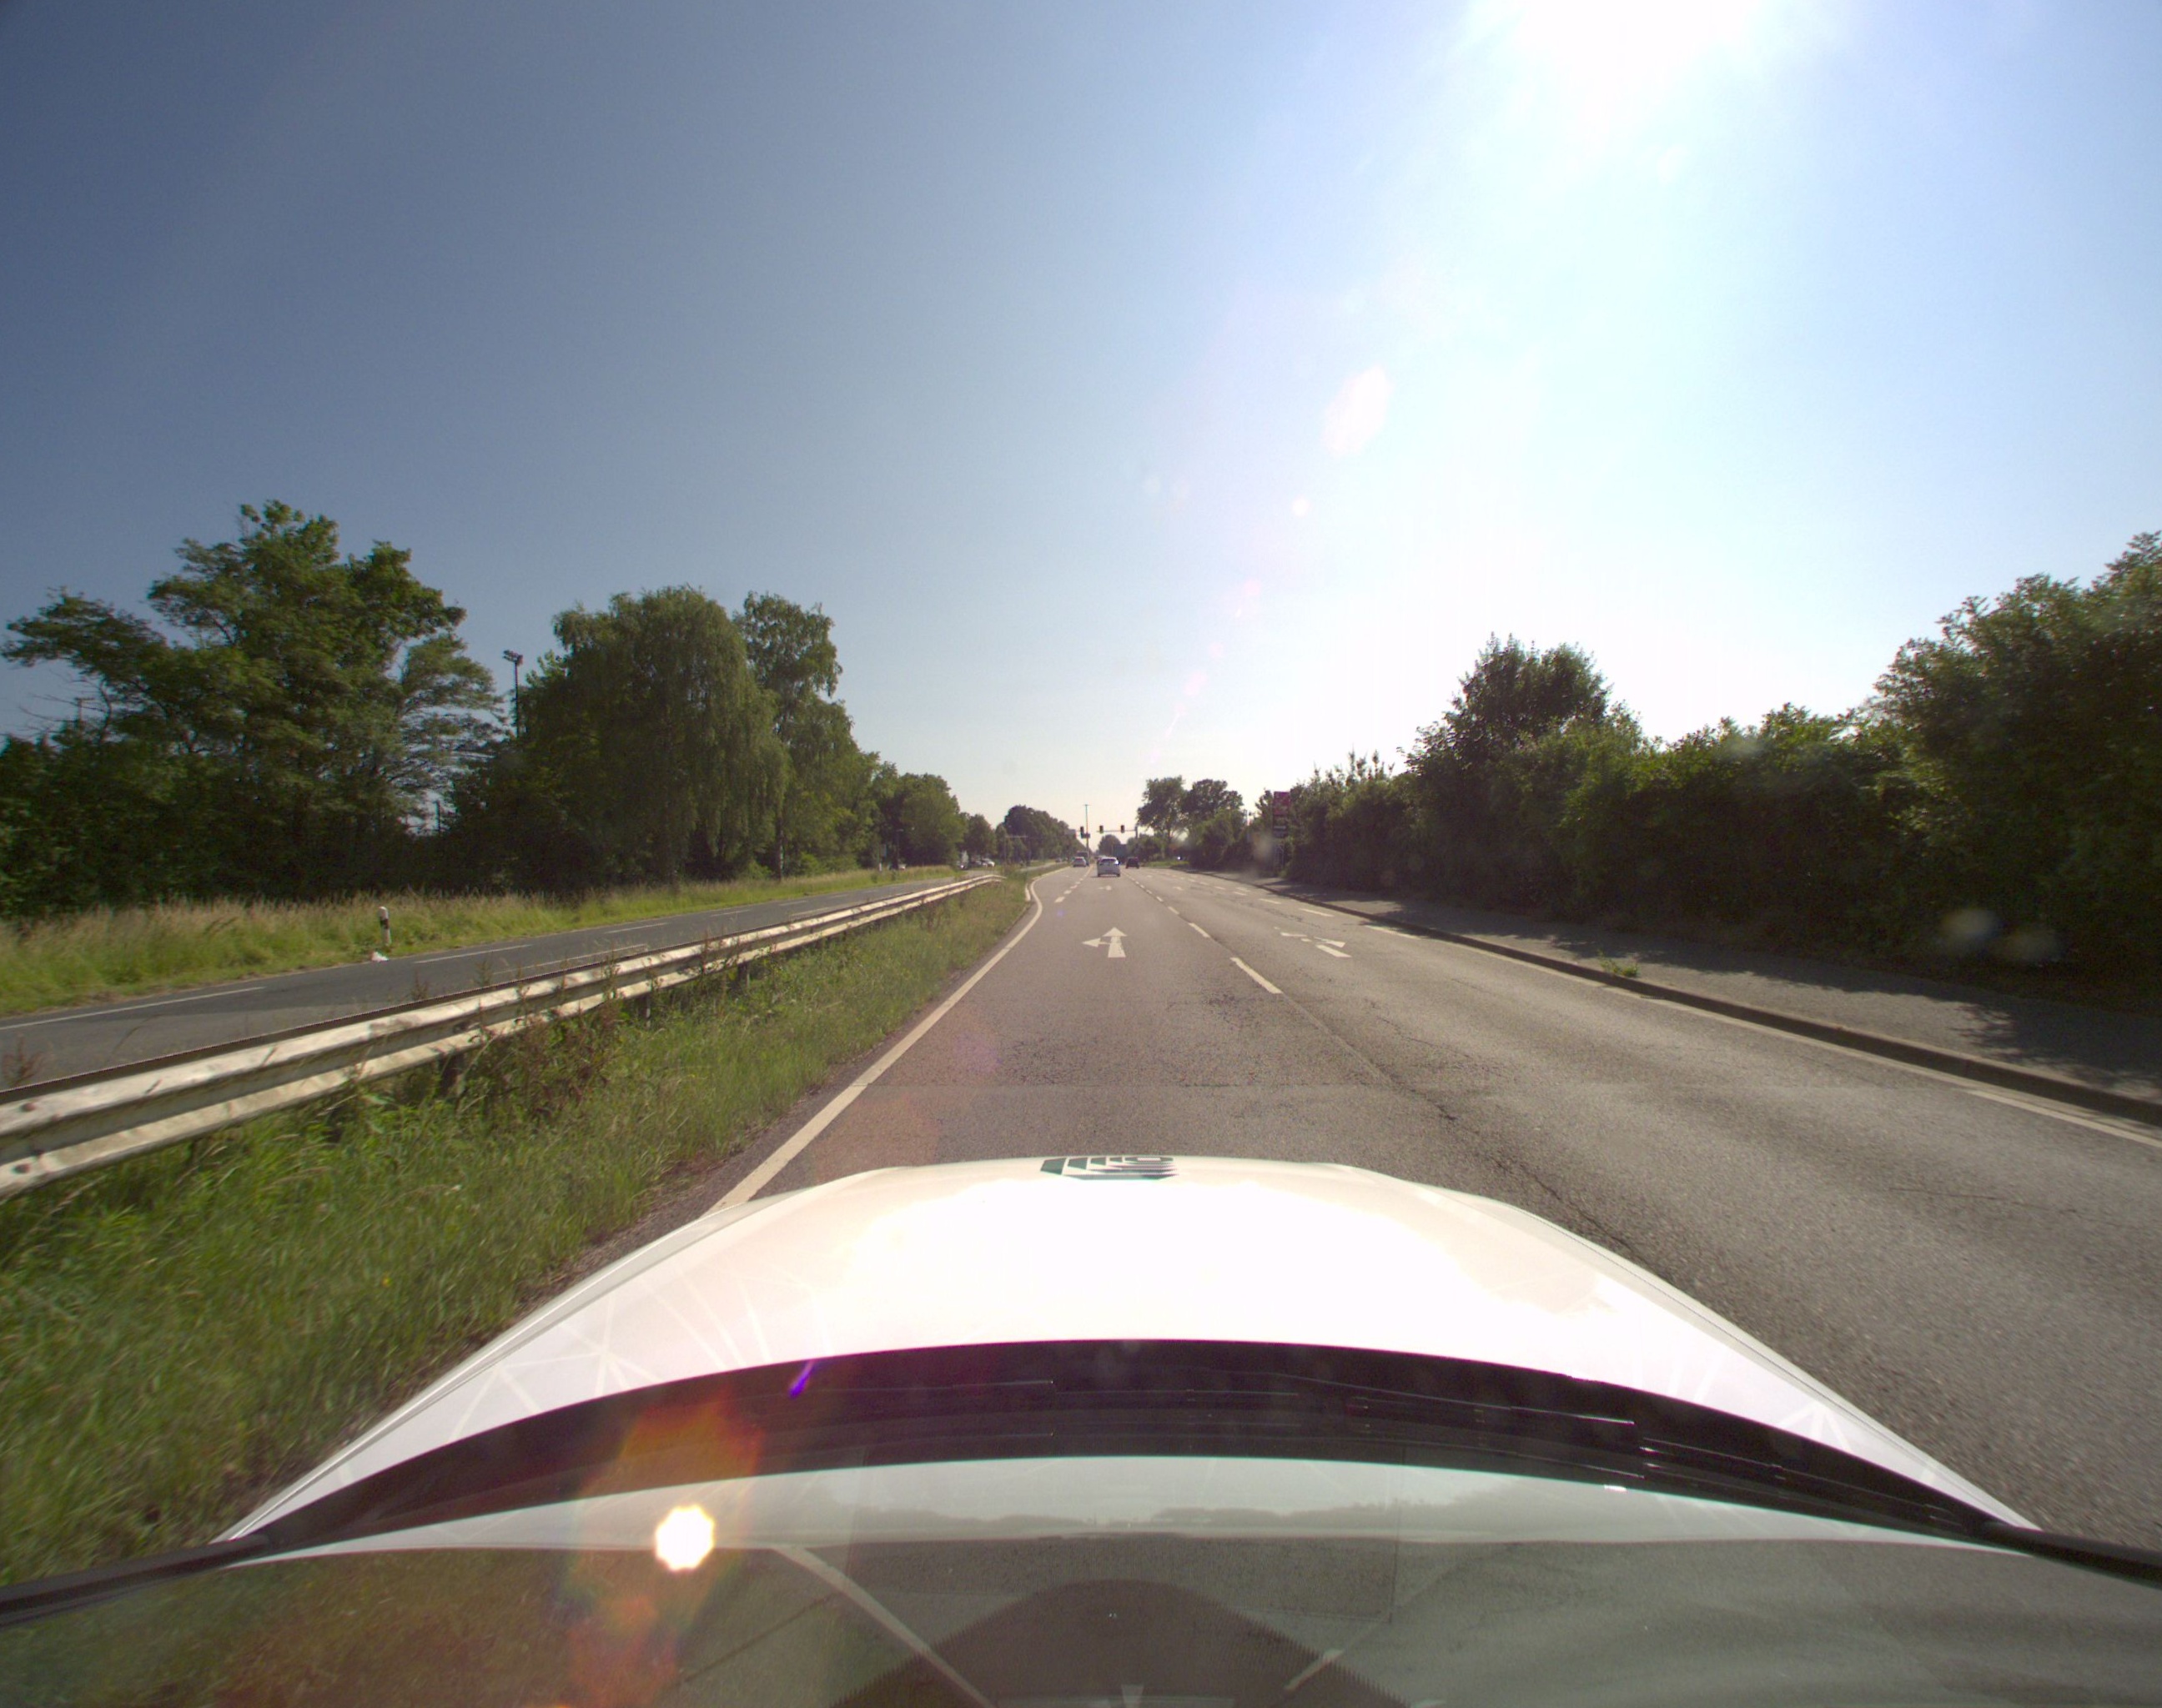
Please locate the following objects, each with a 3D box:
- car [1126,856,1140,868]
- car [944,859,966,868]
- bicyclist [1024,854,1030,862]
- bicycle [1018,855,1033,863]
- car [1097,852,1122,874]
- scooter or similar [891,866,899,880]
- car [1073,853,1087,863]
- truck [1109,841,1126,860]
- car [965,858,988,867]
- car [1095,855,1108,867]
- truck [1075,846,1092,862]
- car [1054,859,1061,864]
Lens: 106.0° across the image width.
[{"bbox_3d":[6.462,0.985,101.855,1.566,1.414,3.278,-1,-1,1],"label":"car"},{"bbox_3d":[-25.652,1.958,165.655,4.212,1.606,2.018,-3,0,36],"label":"car"},{"bbox_3d":[-11.231,0.873,169.180,0.854,1.618,0.763,-1,-1,29],"label":"bicyclist"},{"bbox_3d":[-11.560,1.078,169.449,2.765,1.670,1.143,-2,0,28],"label":"bicycle"},{"bbox_3d":[2.181,0.633,61.438,1.792,1.552,4.002,-1,0,2],"label":"car"},{"bbox_3d":[-16.668,1.695,72.979,0.367,1.186,1.341,-4,-1,1],"label":"scooter or similar"},{"bbox_3d":[-0.107,0.585,118.365,1.805,1.464,4.974,0,0,3],"label":"car"},{"bbox_3d":[7.147,-0.727,160.485,2.881,3.428,9.172,-2,0,1],"label":"truck"},{"bbox_3d":[-20.787,1.726,162.257,4.212,1.606,2.018,-3,0,36],"label":"car"},{"bbox_3d":[2.479,0.863,99.183,1.566,1.414,3.278,0,0,1],"label":"car"},{"bbox_3d":[0.420,-0.056,128.521,2.365,2.389,6.043,-1,0,2],"label":"truck"},{"bbox_3d":[-6.668,2.084,230.949,1.480,1.414,3.763,-4,0,1],"label":"car"}]
